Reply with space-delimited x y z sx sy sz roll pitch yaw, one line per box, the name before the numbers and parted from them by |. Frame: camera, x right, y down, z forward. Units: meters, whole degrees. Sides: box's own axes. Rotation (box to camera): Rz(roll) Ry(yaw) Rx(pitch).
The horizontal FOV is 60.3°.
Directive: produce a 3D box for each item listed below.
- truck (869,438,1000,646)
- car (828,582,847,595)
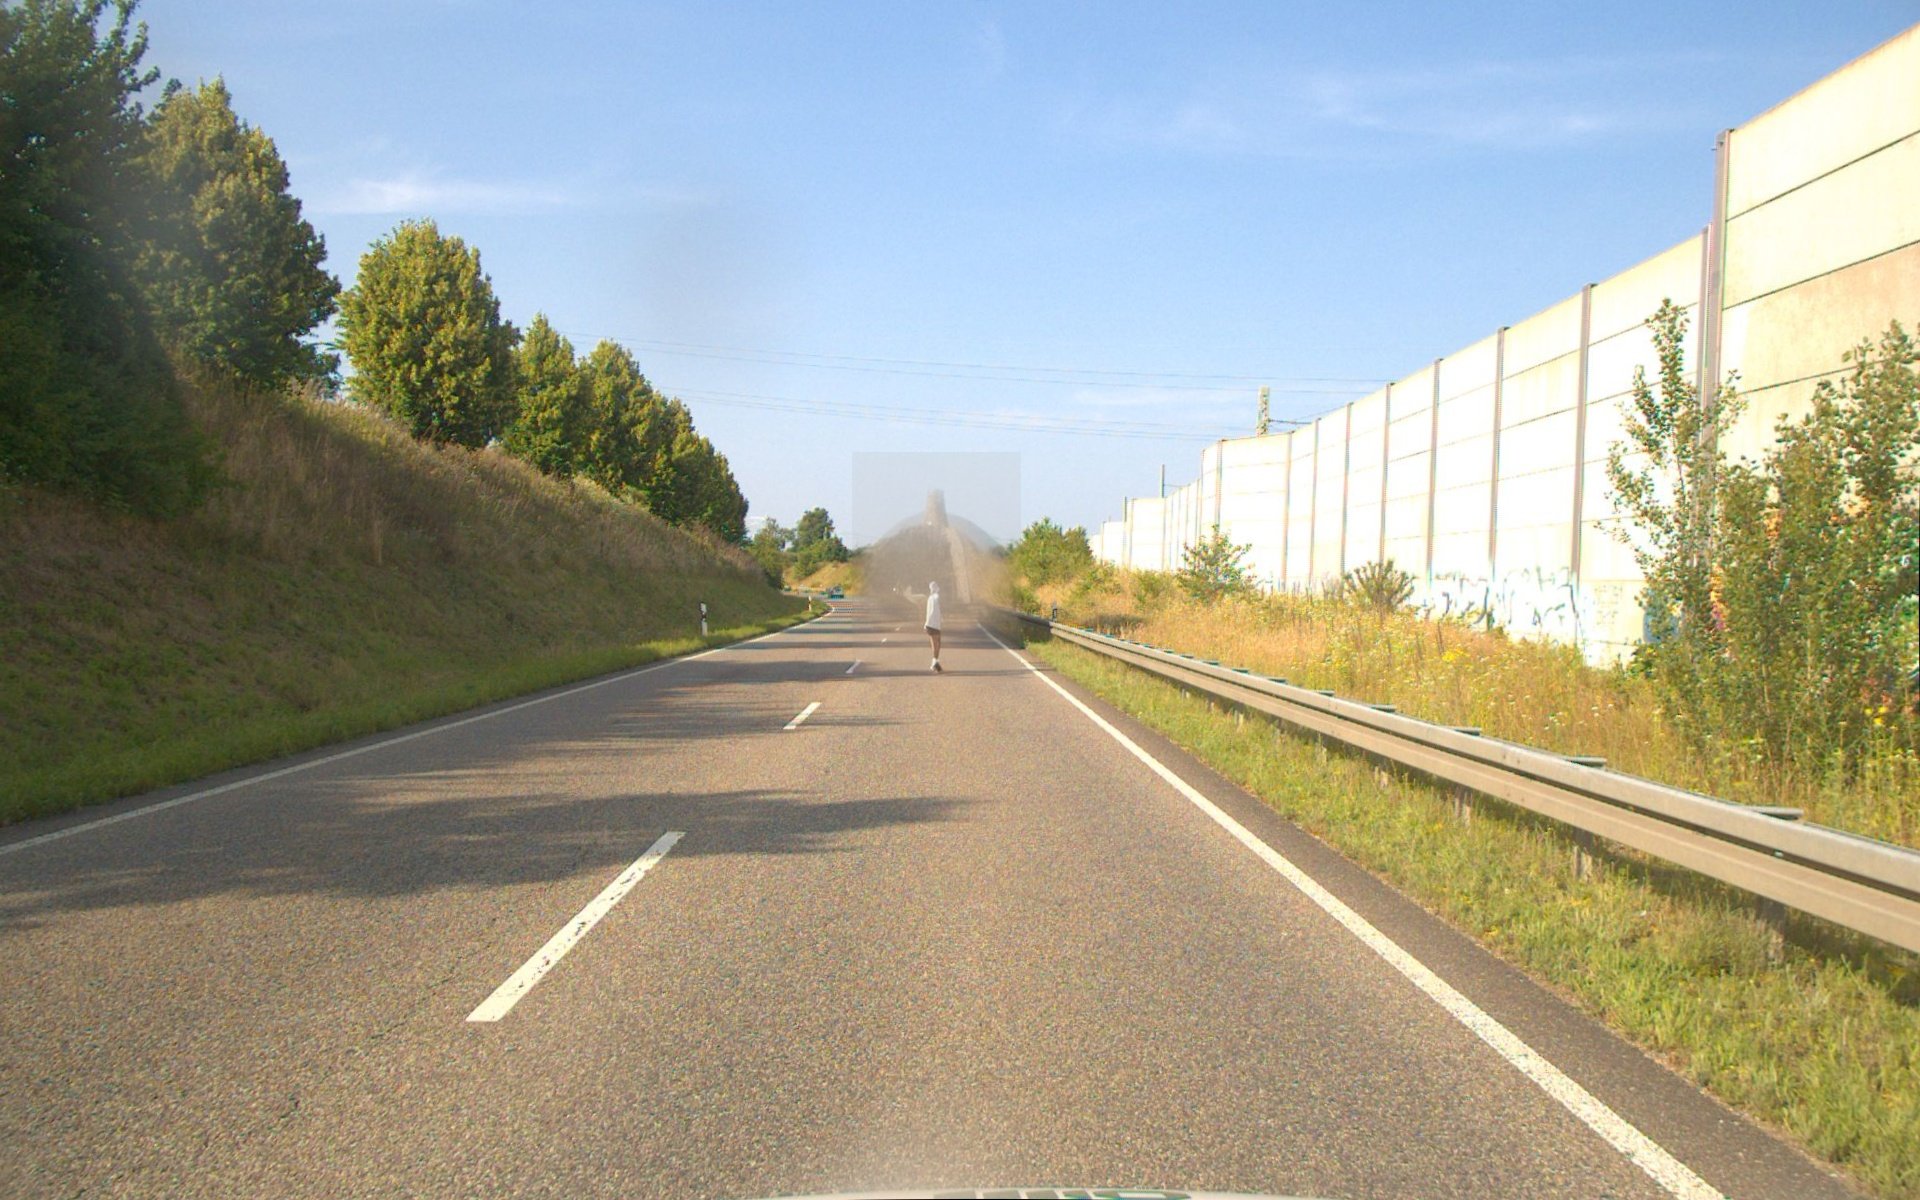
truck | -0.894 -1.563 47.697 3.225 5.178 12.032 1 1 -2
car | -15.290 -1.405 206.922 2.004 1.609 4.359 1 0 -1
